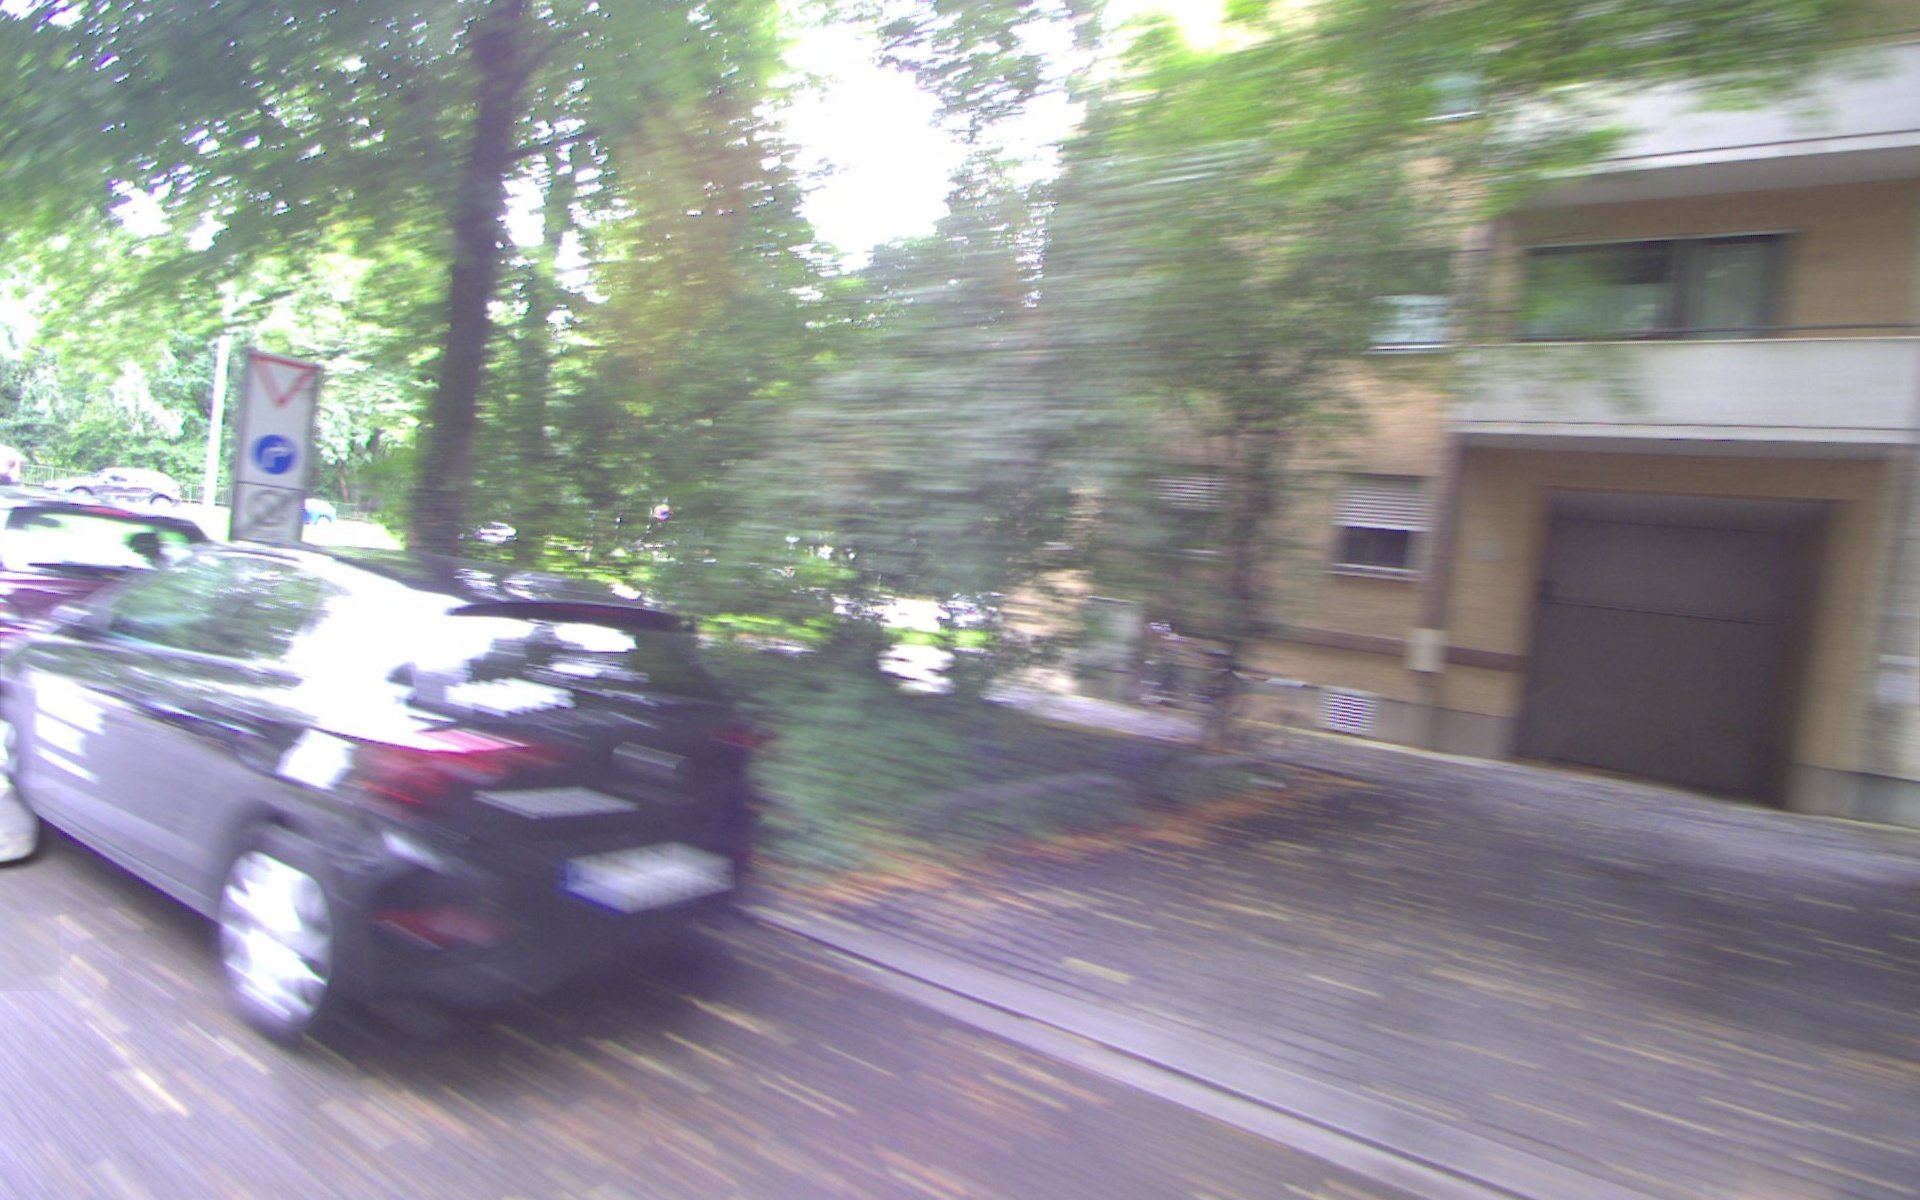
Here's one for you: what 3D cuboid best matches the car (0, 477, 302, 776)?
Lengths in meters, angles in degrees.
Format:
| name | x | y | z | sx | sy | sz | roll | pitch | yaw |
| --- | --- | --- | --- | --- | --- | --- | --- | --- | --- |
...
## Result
| name | x | y | z | sx | sy | sz | roll | pitch | yaw |
| --- | --- | --- | --- | --- | --- | --- | --- | --- | --- |
| car | -6.008 | -0.007 | 6.536 | 3.586 | 1.493 | 1.647 | 8 | 1 | 36 |

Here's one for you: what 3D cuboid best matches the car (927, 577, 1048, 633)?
| name | x | y | z | sx | sy | sz | roll | pitch | yaw |
| --- | --- | --- | --- | --- | --- | --- | --- | --- | --- |
| car | 0.925 | 0.189 | 31.174 | 1.591 | 1.363 | 3.982 | 8 | 2 | 38 |

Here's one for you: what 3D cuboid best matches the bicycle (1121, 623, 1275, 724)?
| name | x | y | z | sx | sy | sz | roll | pitch | yaw |
| --- | --- | --- | --- | --- | --- | --- | --- | --- | --- |
| bicycle | 3.146 | 0.947 | 13.367 | 1.806 | 1.057 | 0.554 | 8 | 3 | 32 |

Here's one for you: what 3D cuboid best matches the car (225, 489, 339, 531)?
| name | x | y | z | sx | sy | sz | roll | pitch | yaw |
| --- | --- | --- | --- | --- | --- | --- | --- | --- | --- |
| car | -33.891 | -4.470 | 50.402 | 1.897 | 1.491 | 4.273 | 7 | 1 | 25 |

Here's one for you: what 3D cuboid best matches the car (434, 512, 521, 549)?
| name | x | y | z | sx | sy | sz | roll | pitch | yaw |
| --- | --- | --- | --- | --- | --- | --- | --- | --- | --- |
| car | -29.129 | -4.177 | 60.864 | 1.897 | 1.599 | 4.513 | 7 | 1 | 24 |

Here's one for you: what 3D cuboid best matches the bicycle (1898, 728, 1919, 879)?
| name | x | y | z | sx | sy | sz | roll | pitch | yaw |
| --- | --- | --- | --- | --- | --- | --- | --- | --- | --- |
| bicycle | 7.094 | 1.509 | 6.733 | 0.537 | 1.097 | 1.833 | 8 | 2 | 25 |

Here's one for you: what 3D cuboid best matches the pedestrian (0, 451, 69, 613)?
| name | x | y | z | sx | sy | sz | roll | pitch | yaw |
| --- | --- | --- | --- | --- | --- | --- | --- | --- | --- |
| pedestrian | -10.206 | -0.746 | 10.745 | 0.748 | 1.639 | 0.779 | 11 | 3 | 35 |

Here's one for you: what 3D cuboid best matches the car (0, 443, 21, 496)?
| name | x | y | z | sx | sy | sz | roll | pitch | yaw |
| --- | --- | --- | --- | --- | --- | --- | --- | --- | --- |
| car | -32.937 | -4.457 | 31.660 | 1.898 | 1.690 | 4.511 | 7 | 1 | 28 |

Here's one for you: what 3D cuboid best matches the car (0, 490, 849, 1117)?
| name | x | y | z | sx | sy | sz | roll | pitch | yaw |
| --- | --- | --- | --- | --- | --- | --- | --- | --- | --- |
| car | -2.600 | 0.441 | 4.274 | 3.943 | 1.375 | 1.683 | 8 | 1 | 33 |

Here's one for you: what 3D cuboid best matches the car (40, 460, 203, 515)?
| name | x | y | z | sx | sy | sz | roll | pitch | yaw |
| --- | --- | --- | --- | --- | --- | --- | --- | --- | --- |
| car | -36.323 | -4.843 | 43.751 | 1.964 | 1.586 | 5.039 | 7 | 1 | 25 |

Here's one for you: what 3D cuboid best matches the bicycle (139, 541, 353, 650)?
| name | x | y | z | sx | sy | sz | roll | pitch | yaw |
| --- | --- | --- | --- | --- | --- | --- | --- | --- | --- |
| bicycle | -7.369 | -0.010 | 10.462 | 0.269 | 0.995 | 1.748 | 8 | 2 | 42 |

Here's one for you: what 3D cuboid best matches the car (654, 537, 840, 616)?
| name | x | y | z | sx | sy | sz | roll | pitch | yaw |
| --- | --- | --- | --- | --- | --- | --- | --- | --- | --- |
| car | -4.767 | -0.496 | 22.978 | 1.591 | 1.363 | 3.982 | 8 | 2 | 38 |
